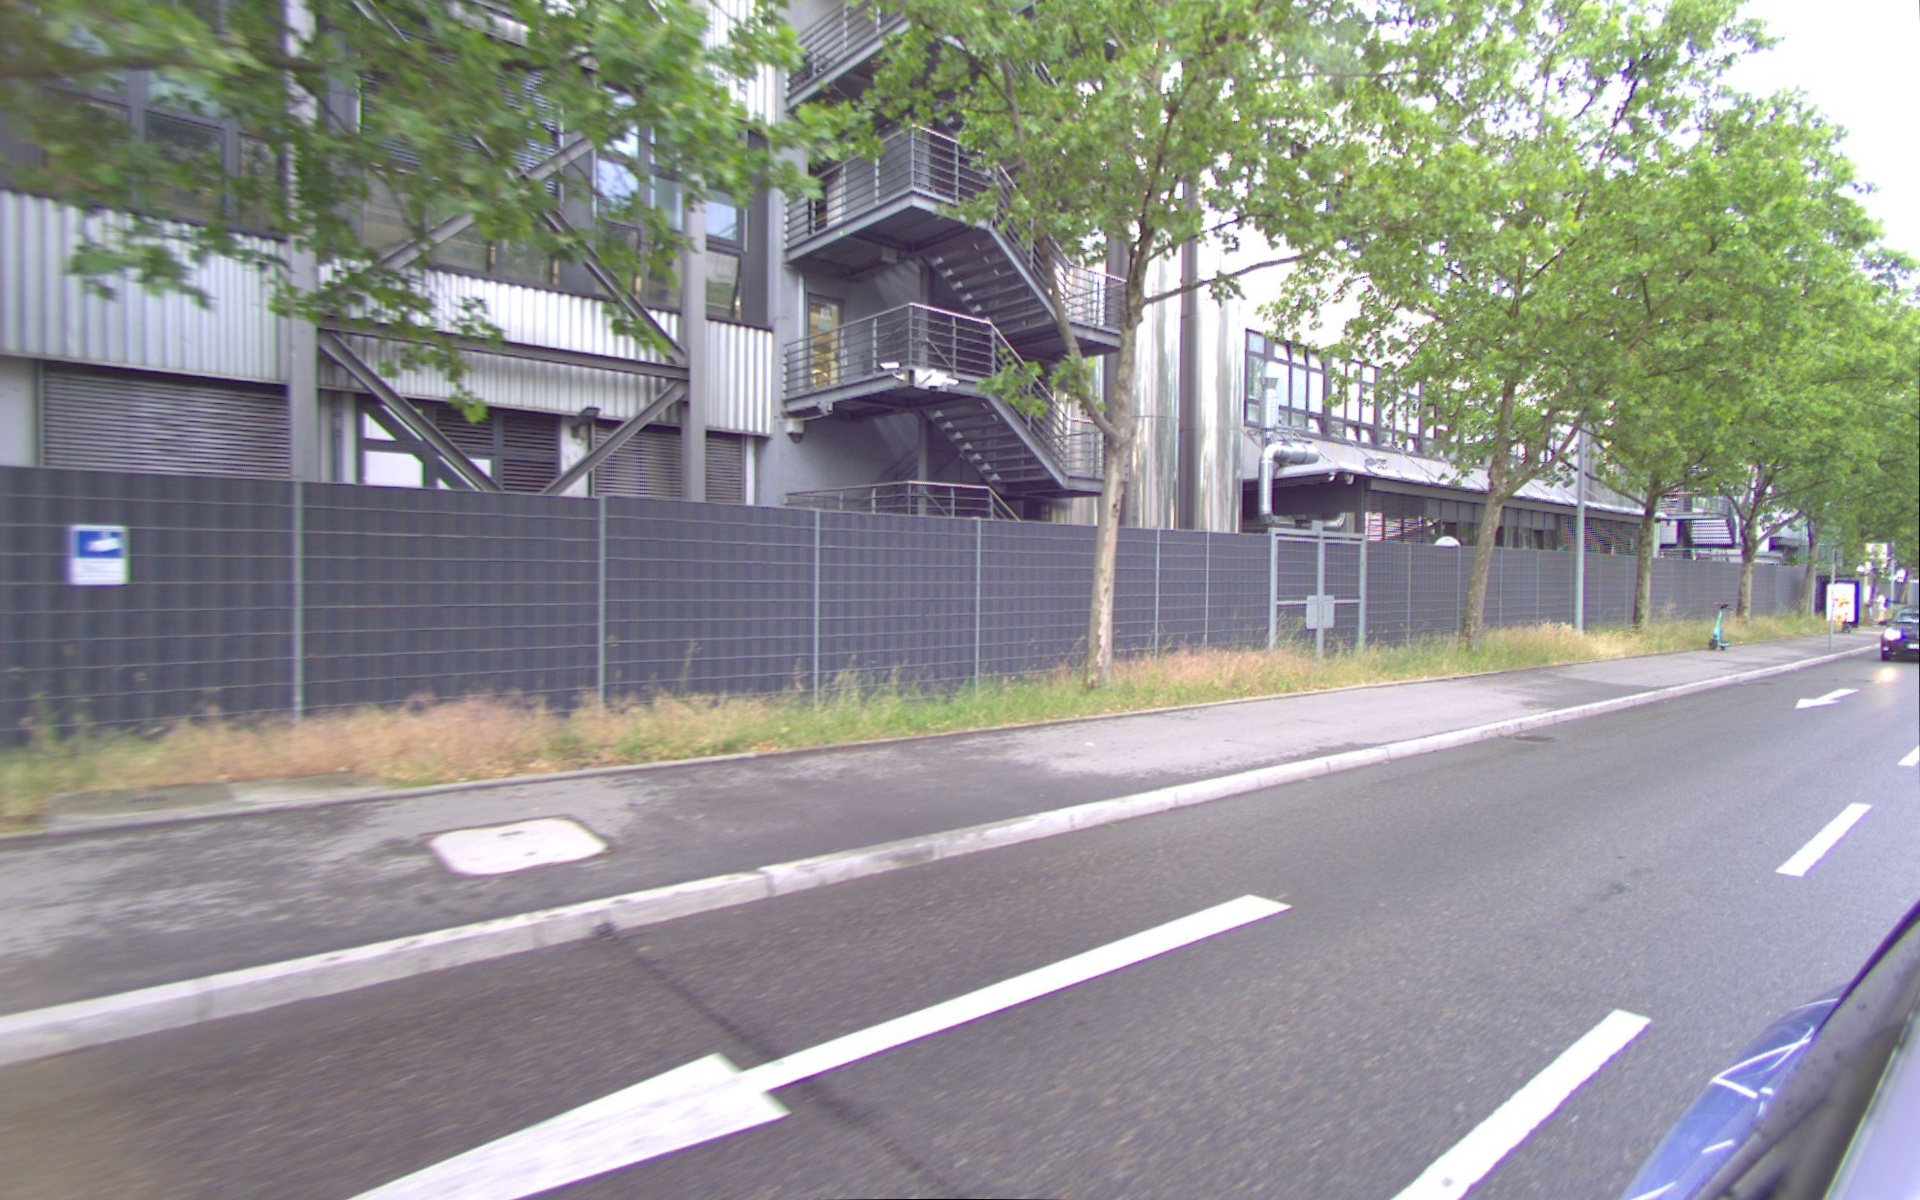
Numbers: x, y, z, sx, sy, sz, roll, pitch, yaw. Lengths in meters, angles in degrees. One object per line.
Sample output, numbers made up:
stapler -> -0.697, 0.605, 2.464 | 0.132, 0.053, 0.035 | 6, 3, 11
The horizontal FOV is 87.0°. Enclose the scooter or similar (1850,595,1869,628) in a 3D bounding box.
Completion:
scooter or similar -> 36.350, 0.462, 40.894 | 1.222, 1.325, 0.329 | 0, 1, -37

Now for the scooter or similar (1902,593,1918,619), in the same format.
scooter or similar -> 49.875, 0.316, 53.125 | 1.277, 1.311, 0.437 | 0, 1, -39

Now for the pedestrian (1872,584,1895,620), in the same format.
pedestrian -> 45.355, 0.075, 49.701 | 0.717, 1.731, 0.777 | 0, 1, -42

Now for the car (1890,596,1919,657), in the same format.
car -> 26.073, 0.699, 26.829 | 4.010, 1.512, 1.877 | 0, 2, -45

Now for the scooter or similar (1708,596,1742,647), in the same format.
scooter or similar -> 19.707, 0.552, 26.077 | 1.087, 1.285, 0.330 | 0, 1, -33
